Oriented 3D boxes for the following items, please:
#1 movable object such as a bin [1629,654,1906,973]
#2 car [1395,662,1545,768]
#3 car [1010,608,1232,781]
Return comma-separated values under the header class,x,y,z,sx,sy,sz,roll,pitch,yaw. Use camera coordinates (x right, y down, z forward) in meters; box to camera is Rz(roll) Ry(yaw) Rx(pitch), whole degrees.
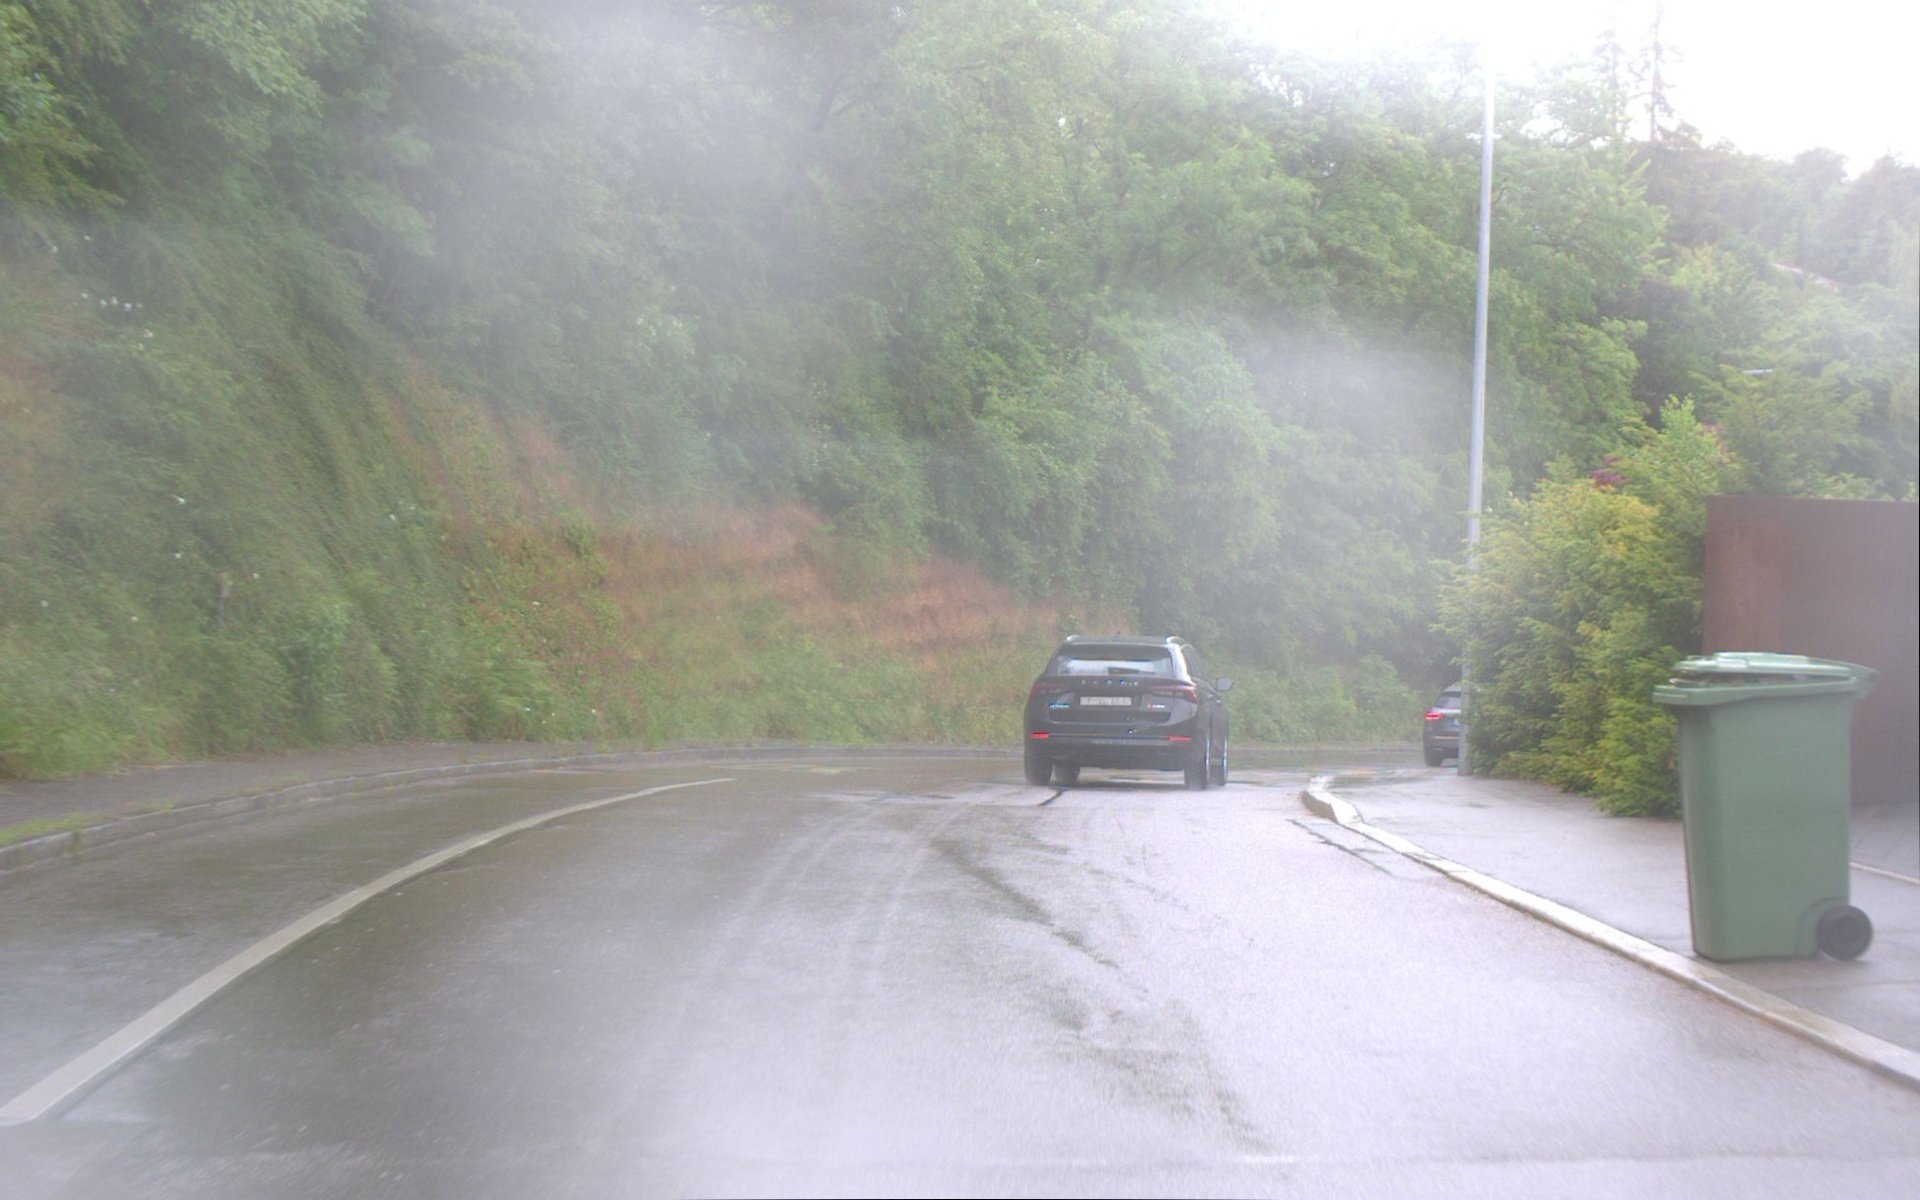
class,x,y,z,sx,sy,sz,roll,pitch,yaw
movable object such as a bin,2.949,0.768,12.617,0.789,1.092,0.675,-3,0,-2
car,9.531,2.098,64.002,1.995,1.599,4.405,2,2,18
car,1.642,0.930,33.692,1.869,1.507,4.091,2,-2,6
